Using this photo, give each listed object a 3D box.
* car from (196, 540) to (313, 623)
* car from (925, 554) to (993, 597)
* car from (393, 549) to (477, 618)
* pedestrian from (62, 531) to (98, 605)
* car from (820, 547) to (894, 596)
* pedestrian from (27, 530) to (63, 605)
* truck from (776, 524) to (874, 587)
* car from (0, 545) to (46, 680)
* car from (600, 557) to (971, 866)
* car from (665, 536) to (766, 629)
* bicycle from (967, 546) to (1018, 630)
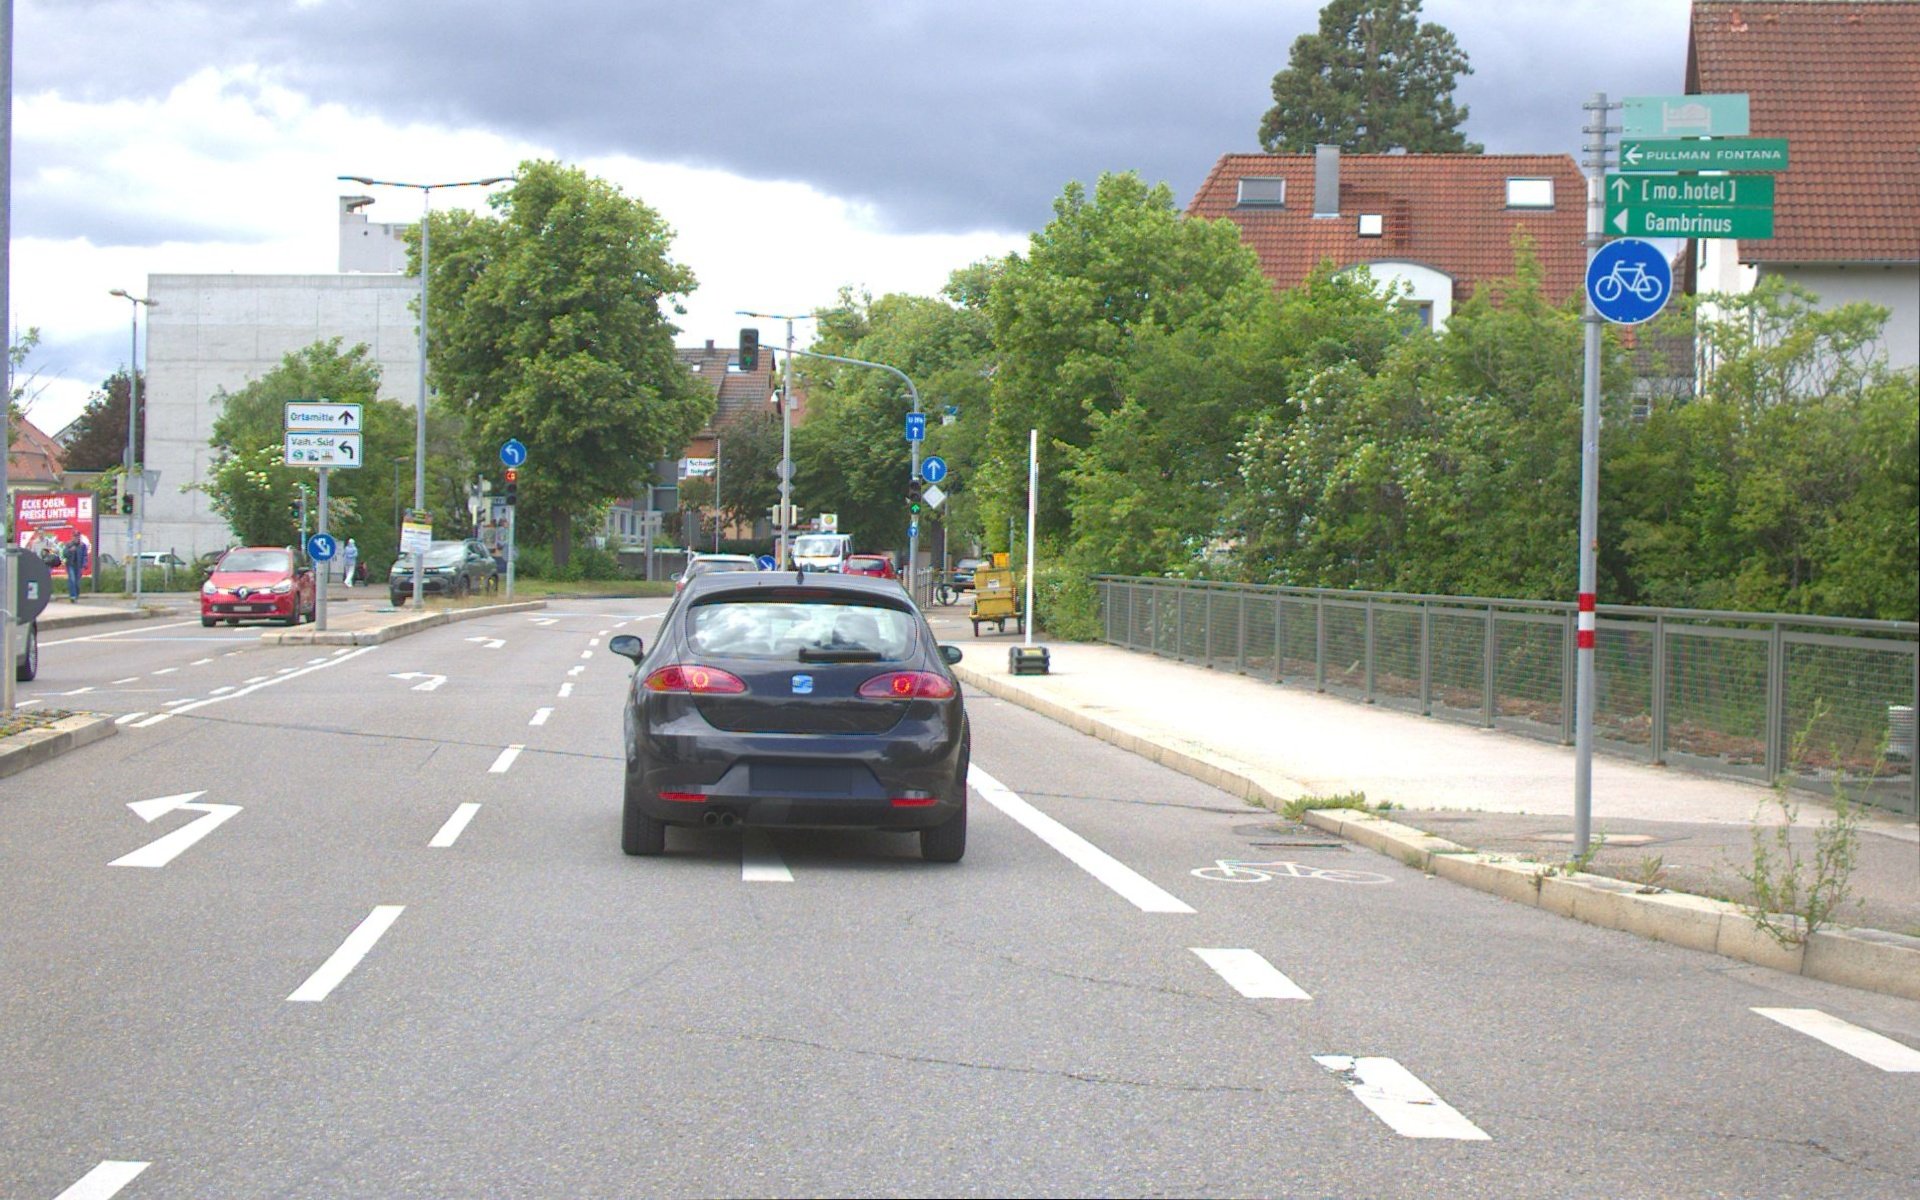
[{"bbox_3d":[-13.023,-0.360,63.644,1.720,1.443,4.067,1,0,-6],"label":"car"},{"bbox_3d":[-0.028,-0.994,140.413,1.994,1.678,3.998,1,1,12],"label":"car"},{"bbox_3d":[-12.916,-0.430,84.731,1.822,1.621,4.280,1,1,-6],"label":"car"},{"bbox_3d":[-19.627,-0.717,76.679,0.656,1.628,1.071,2,0,-11],"label":"pedestrian"},{"bbox_3d":[-3.227,-0.898,107.021,1.941,1.476,4.254,0,1,-6],"label":"car"},{"bbox_3d":[-20.386,-0.730,76.620,0.656,1.628,0.833,2,0,-10],"label":"pedestrian"},{"bbox_3d":[-5.013,-1.658,128.680,2.126,2.257,6.802,1,1,11],"label":"truck"},{"bbox_3d":[-10.784,0.104,36.026,1.642,1.404,3.820,1,0,-5],"label":"car"},{"bbox_3d":[-0.864,0.509,18.276,1.759,1.444,3.714,0,1,-1],"label":"car"},{"bbox_3d":[-4.616,-0.362,65.348,1.819,1.693,4.253,0,1,-3],"label":"car"},{"bbox_3d":[0.606,-0.238,63.033,0.891,1.505,2.783,1,1,1],"label":"bicycle"}]
